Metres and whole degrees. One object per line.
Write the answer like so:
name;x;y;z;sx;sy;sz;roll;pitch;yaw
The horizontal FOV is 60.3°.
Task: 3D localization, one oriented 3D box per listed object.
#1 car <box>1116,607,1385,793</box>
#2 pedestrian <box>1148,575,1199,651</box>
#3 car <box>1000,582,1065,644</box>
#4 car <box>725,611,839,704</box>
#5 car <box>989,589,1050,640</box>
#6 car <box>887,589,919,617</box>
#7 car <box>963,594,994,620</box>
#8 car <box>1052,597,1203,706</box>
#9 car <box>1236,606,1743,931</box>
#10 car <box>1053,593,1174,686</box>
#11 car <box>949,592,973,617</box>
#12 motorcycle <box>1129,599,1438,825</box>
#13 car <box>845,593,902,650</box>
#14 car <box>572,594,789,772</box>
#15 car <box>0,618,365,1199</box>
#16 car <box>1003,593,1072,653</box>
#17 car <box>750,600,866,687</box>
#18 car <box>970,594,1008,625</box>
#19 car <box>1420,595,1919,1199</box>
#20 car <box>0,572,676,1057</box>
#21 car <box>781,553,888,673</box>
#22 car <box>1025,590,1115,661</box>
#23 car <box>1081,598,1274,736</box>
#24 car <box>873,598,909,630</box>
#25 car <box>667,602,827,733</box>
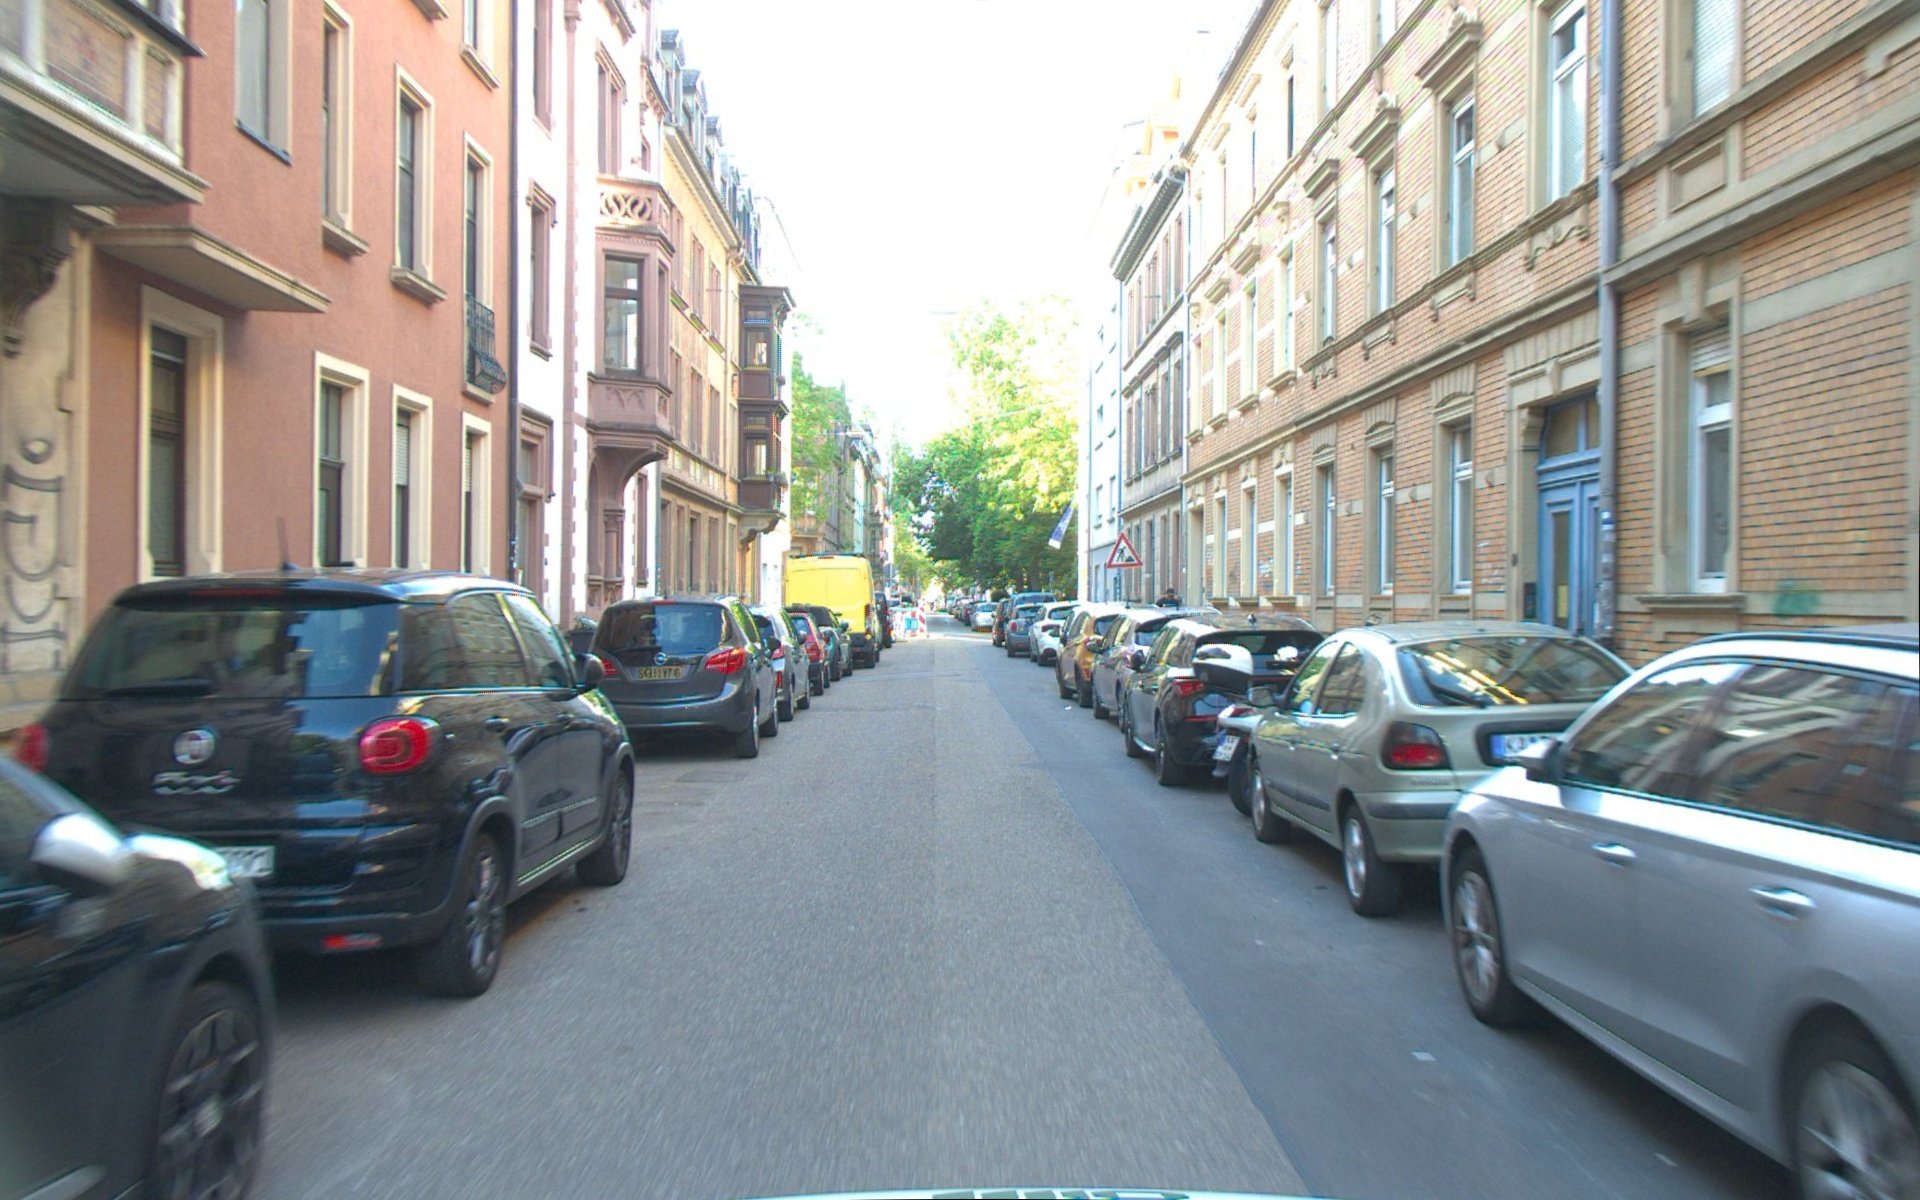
car;2.561;0.818;15.588;1.741;1.421;4.317;-1;1;0
pedestrian;4.786;0.300;37.073;0.650;1.659;0.867;-2;-1;-43
car;2.286;0.381;53.161;1.718;1.817;4.722;-3;1;-1
car;-2.985;0.936;28.345;1.585;1.349;3.611;-4;0;-2
car;2.052;0.497;57.827;1.862;1.668;4.389;-1;0;-1
car;-4.488;0.233;131.297;2.262;2.151;5.169;-1;0;0
car;1.172;0.489;108.526;1.856;1.654;3.998;-1;0;-2
car;2.565;0.756;26.227;1.719;1.471;4.067;-4;0;-3
car;2.796;0.791;9.680;1.657;1.430;3.992;-1;0;0
car;2.822;0.689;31.206;1.686;1.506;4.081;-5;0;-2
car;0.112;0.465;158.899;2.117;2.295;4.523;-1;0;-2
motorcycle;2.446;0.803;12.448;2.193;1.563;0.882;1;0;-27
car;-2.866;0.677;54.403;1.782;1.797;4.332;-1;0;-4
car;-2.835;0.772;17.567;1.745;1.634;4.067;-1;0;-2
car;-2.427;0.849;2.617;1.610;1.481;3.838;-3;0;-2
car;2.183;0.617;47.722;1.718;1.478;4.288;-5;1;1
car;-2.961;0.816;32.948;1.683;1.437;3.898;-5;0;2
car;1.502;0.477;87.249;1.689;1.549;3.997;-1;0;-4
car;2.776;0.765;4.614;1.726;1.510;4.401;-1;0;0
car;-2.567;0.728;7.800;1.725;1.645;4.189;-1;0;0
car;-2.906;0.277;39.623;2.131;2.551;5.876;-3;0;-1
car;2.732;0.593;41.844;1.719;1.544;4.442;-5;1;-2
car;2.706;0.780;21.486;1.691;1.442;4.092;-5;1;-3
car;-3.886;0.788;93.534;1.843;1.737;4.000;-2;0;0
car;-2.826;0.852;22.697;1.660;1.500;3.918;-4;0;-1
